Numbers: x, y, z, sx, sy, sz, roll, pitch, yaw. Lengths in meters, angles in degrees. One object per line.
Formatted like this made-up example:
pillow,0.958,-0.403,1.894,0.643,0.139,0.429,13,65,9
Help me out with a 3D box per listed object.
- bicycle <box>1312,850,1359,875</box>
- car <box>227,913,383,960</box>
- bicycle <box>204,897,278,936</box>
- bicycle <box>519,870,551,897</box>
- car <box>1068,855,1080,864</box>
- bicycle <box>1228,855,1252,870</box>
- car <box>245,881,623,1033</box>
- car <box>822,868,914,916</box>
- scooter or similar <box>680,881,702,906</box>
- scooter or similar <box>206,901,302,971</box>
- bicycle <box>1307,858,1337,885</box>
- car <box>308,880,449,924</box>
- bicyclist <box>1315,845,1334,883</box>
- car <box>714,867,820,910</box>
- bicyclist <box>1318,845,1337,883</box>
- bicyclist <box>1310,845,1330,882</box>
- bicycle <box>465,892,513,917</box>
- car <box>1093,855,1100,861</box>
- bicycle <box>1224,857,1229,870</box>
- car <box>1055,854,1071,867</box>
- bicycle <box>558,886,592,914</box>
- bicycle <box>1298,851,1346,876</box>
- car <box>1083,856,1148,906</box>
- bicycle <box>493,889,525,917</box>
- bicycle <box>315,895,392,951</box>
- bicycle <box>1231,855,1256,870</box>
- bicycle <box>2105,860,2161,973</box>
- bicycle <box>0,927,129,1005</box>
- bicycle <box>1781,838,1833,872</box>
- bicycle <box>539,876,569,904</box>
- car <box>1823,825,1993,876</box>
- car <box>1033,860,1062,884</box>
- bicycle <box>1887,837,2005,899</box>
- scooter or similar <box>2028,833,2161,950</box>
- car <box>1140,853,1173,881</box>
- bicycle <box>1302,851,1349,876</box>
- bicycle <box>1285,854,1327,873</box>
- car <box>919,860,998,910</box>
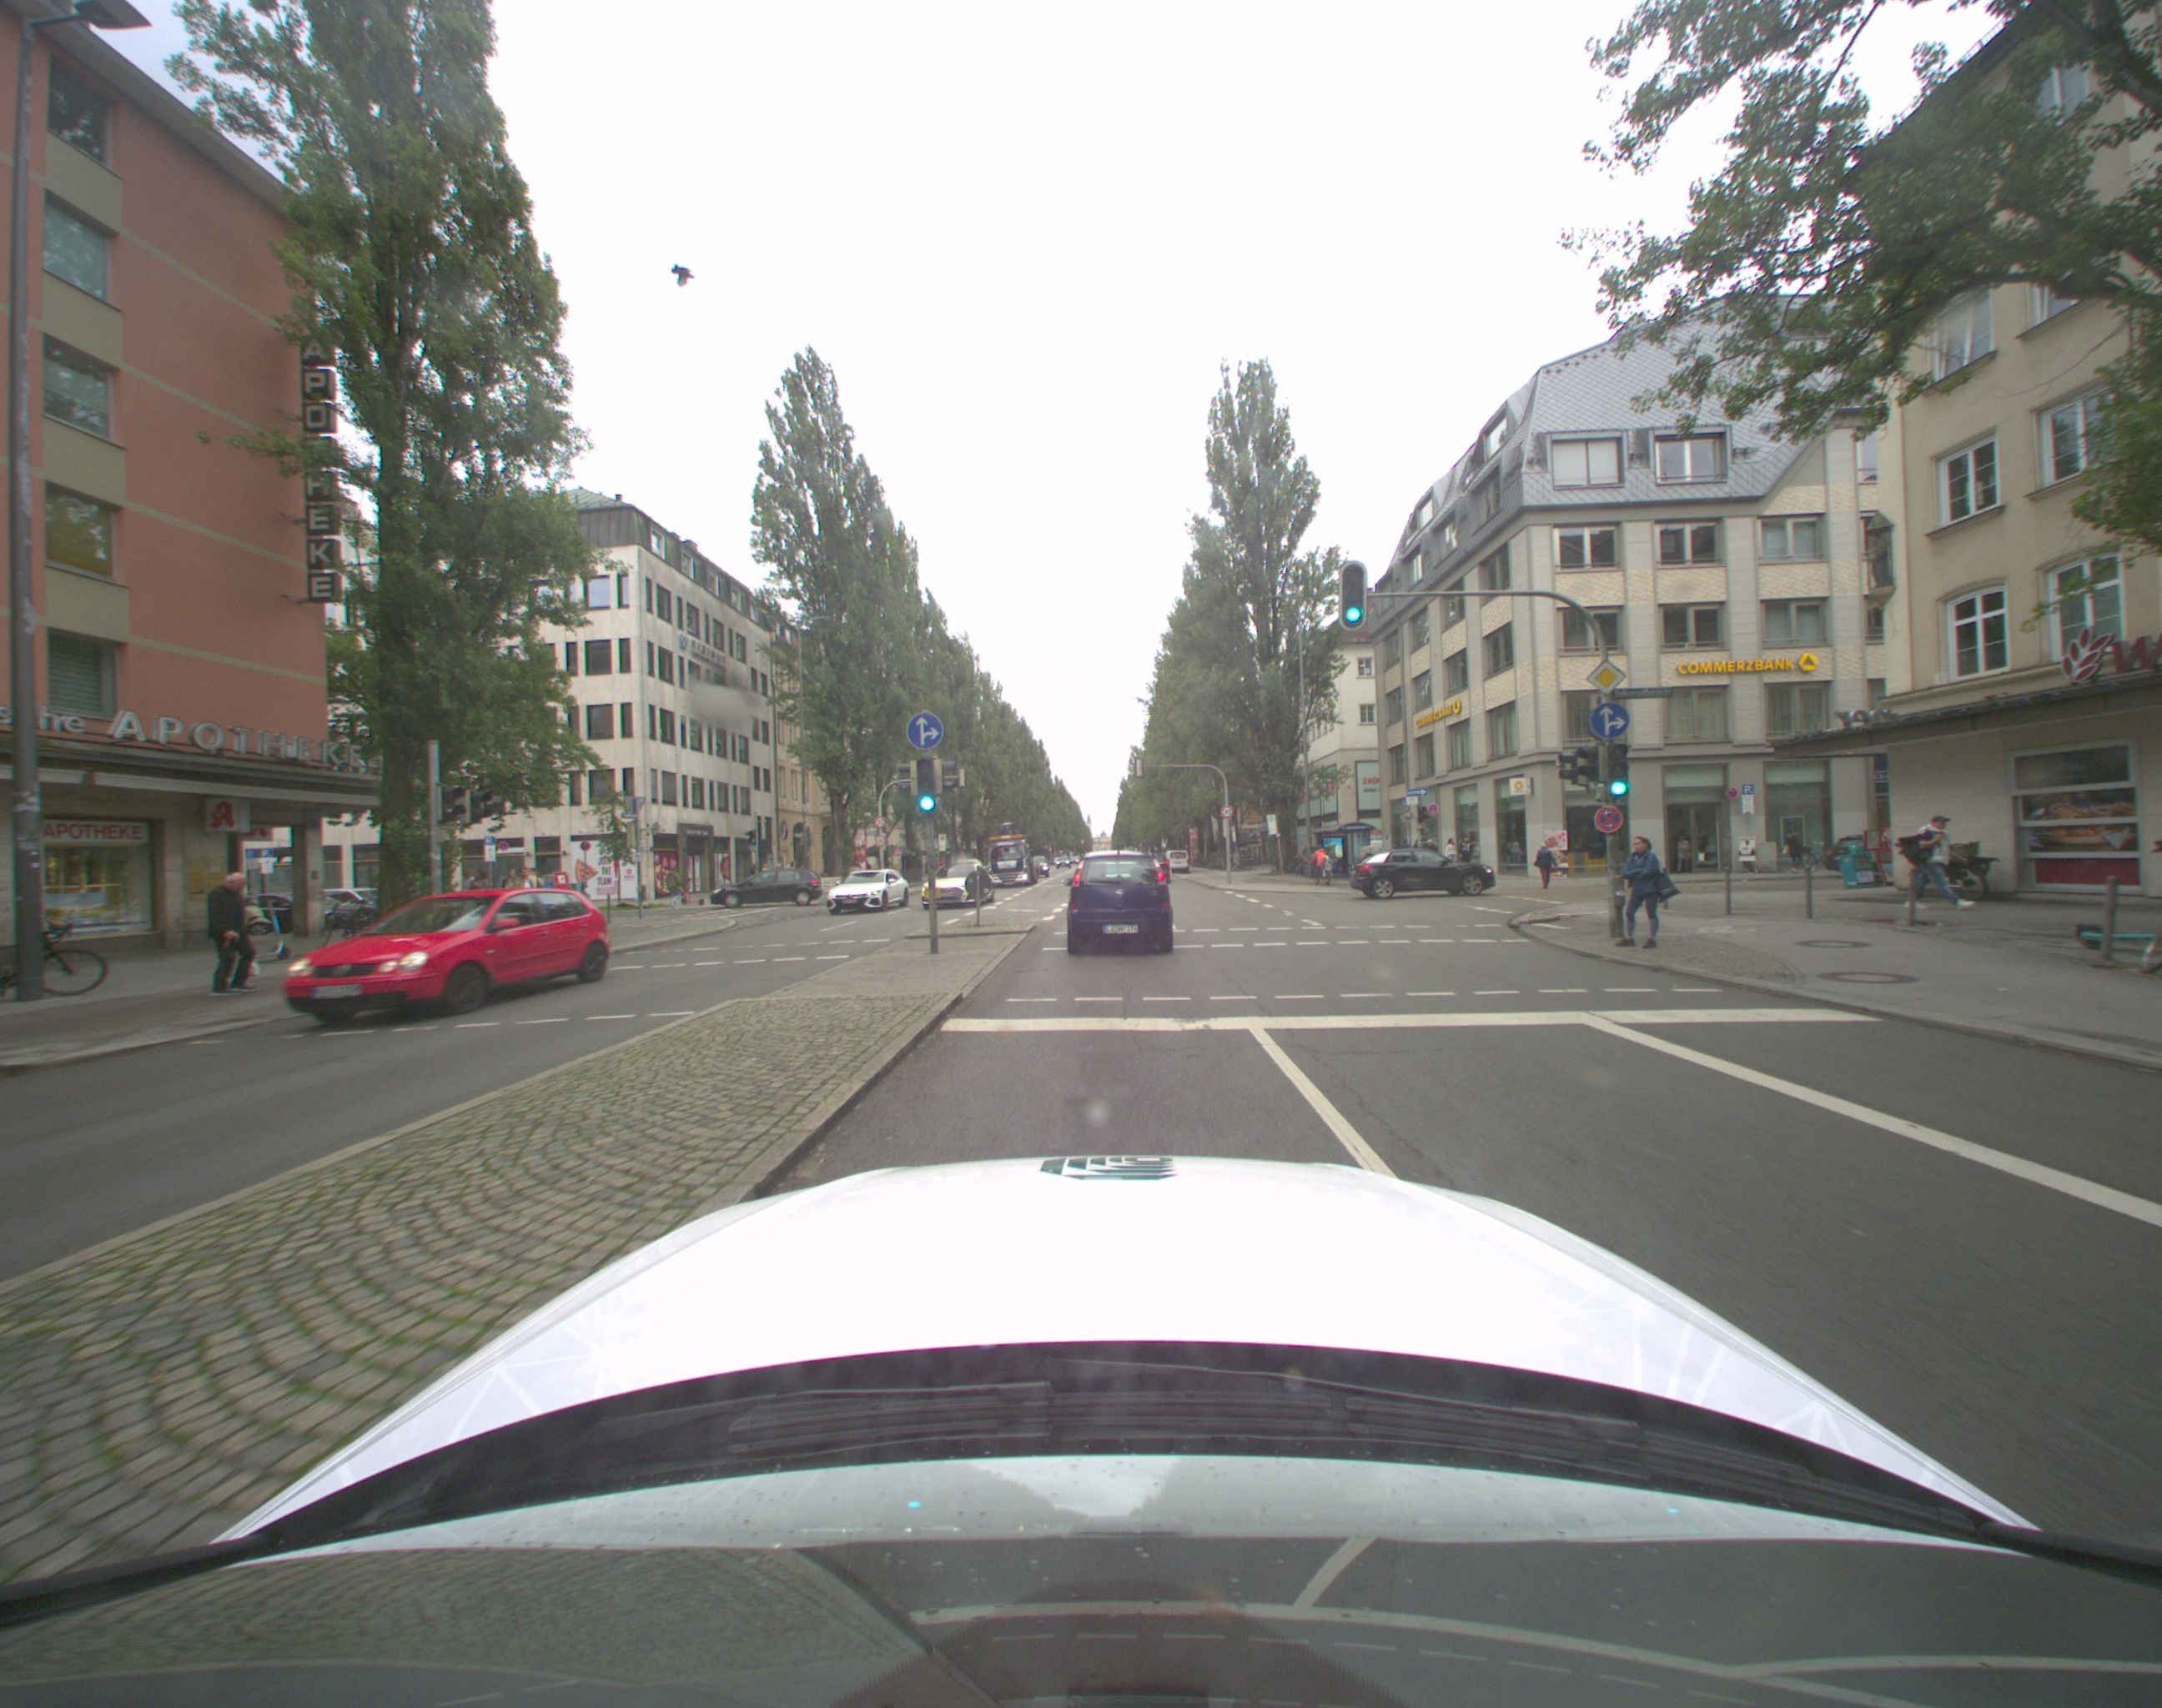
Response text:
bicycle,13.086,0.446,41.900,2.218,1.252,0.480,-2,0,25
car,-26.224,2.770,27.568,3.962,1.420,1.787,-1,-1,10
bicycle,-26.645,1.968,25.824,2.044,1.184,0.539,-1,-1,9
bicycle,-25.088,1.352,37.444,0.415,1.184,2.056,-2,0,-10
car,-1.223,0.998,149.273,1.928,1.623,4.337,-2,0,1
bicycle,12.275,0.627,62.747,1.737,1.110,0.447,-2,0,-9
car,-7.977,1.163,10.595,1.730,1.437,3.825,-3,0,2
car,-7.323,1.257,28.506,1.816,1.408,4.633,-3,0,1
scooter or similar,-17.341,1.773,36.229,0.811,1.093,0.274,-1,-1,-3
scooter or similar,-15.693,1.524,15.493,0.406,1.173,1.402,-2,0,-2
bicycle,10.489,0.742,35.528,0.624,1.087,2.264,-2,0,1
car,-25.880,1.749,30.067,3.962,1.420,1.787,-2,0,10
bicyclist,10.466,0.418,34.987,0.619,1.588,0.481,-2,0,1
car,-12.284,1.321,32.091,3.701,1.475,1.762,-2,0,-18
bicyclist,10.464,0.415,34.591,0.619,1.588,0.391,-2,-1,0
bicyclist,10.477,0.425,35.753,0.619,1.588,0.753,-2,0,1
bicycle,-26.197,2.244,36.019,2.043,1.047,0.418,-2,0,12
car,4.429,1.124,229.000,1.955,1.399,3.779,-2,0,1
bicycle,12.110,0.764,67.651,0.362,1.038,1.735,-2,0,9
car,-2.474,0.935,112.698,1.906,1.681,4.587,-2,0,1
bicycle,-23.482,2.100,37.805,0.414,1.184,2.029,-2,0,-5
bicycle,12.975,0.527,43.906,2.335,1.252,0.633,-2,0,1
car,1.125,0.849,27.849,1.987,1.497,4.000,-2,0,1
bicycle,-26.089,2.217,37.199,0.450,1.184,2.053,-2,0,-14
bicycle,-16.336,1.525,18.322,0.419,1.141,1.374,-1,0,3
bicycle,12.406,0.648,62.064,1.757,1.044,0.482,-2,0,-9
bicycle,10.394,0.608,7.375,0.401,1.070,1.819,3,1,17
bicycle,-15.194,1.633,11.763,0.326,0.986,1.822,-2,0,27
bicycle,27.970,0.033,31.370,1.737,1.212,0.447,-2,0,-9
bicycle,-24.249,1.628,37.505,0.415,1.184,2.000,-2,0,-12
car,28.497,-0.111,28.152,3.971,1.549,1.760,-2,0,2
car,-2.638,1.404,64.861,1.877,1.746,4.441,-2,0,2
bicycle,17.396,0.275,16.442,0.433,1.170,1.811,-1,-1,0
scooter or similar,11.673,0.402,9.094,0.407,1.243,1.365,-2,0,-14
car,4.475,0.733,48.862,1.700,1.574,4.001,-2,0,2
bicycle,12.989,0.512,43.293,2.307,1.252,0.477,-2,0,1
bicycle,12.876,0.535,46.567,2.140,1.017,0.874,-2,0,1
car,-4.193,1.018,28.680,1.837,1.501,4.987,-3,0,1
